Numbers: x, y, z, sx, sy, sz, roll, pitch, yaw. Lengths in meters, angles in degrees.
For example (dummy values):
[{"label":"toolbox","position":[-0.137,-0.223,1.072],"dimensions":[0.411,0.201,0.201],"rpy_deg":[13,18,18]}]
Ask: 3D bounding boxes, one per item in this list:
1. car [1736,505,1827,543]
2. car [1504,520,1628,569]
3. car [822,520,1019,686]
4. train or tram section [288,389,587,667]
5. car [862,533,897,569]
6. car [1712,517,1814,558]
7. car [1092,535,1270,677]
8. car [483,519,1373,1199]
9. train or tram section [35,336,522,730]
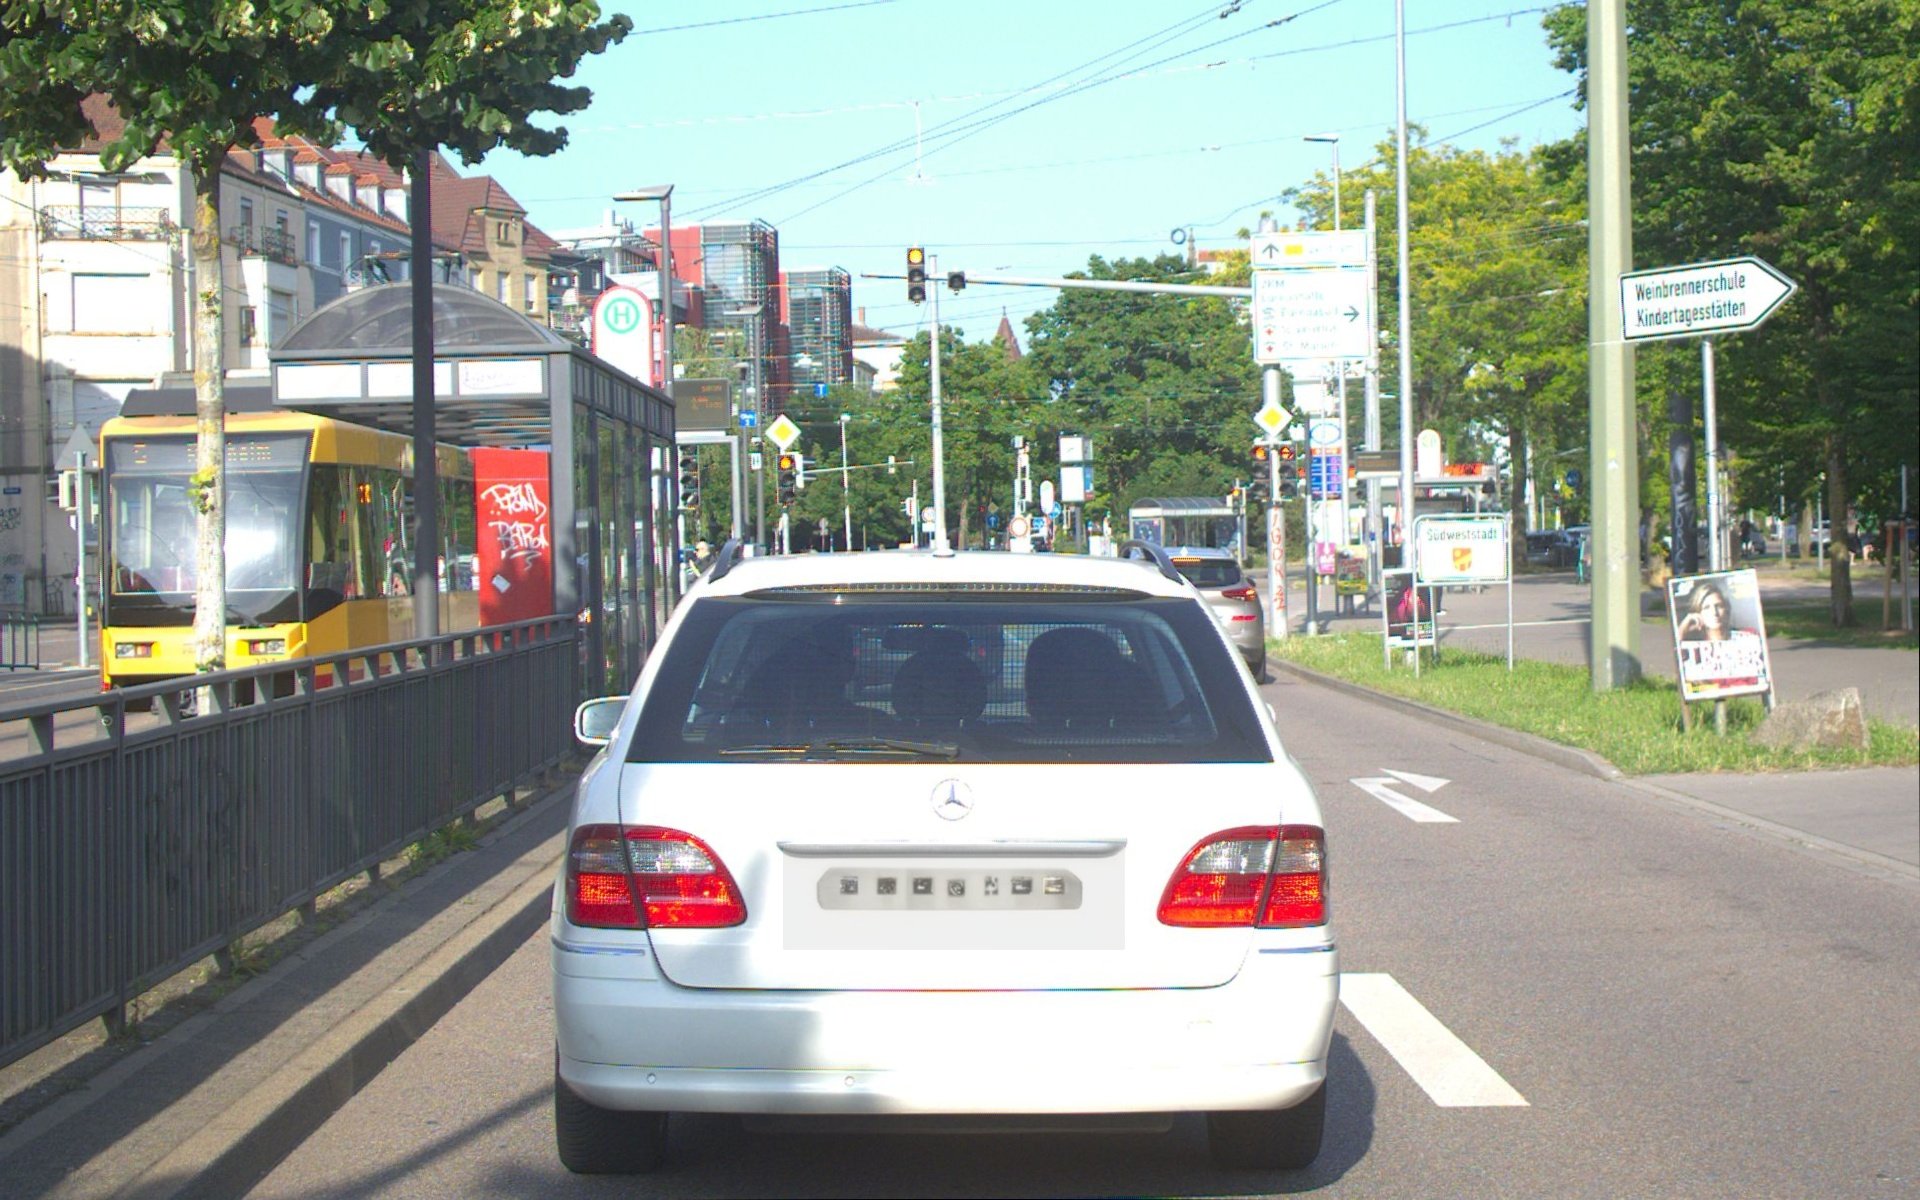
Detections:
[{"label":"car","position":[37.505,-3.470,156.887],"dimensions":[3.989,1.645,1.999],"rpy_deg":[-1,1,14]},{"label":"car","position":[21.823,-2.003,123.823],"dimensions":[3.992,1.645,1.997],"rpy_deg":[-1,1,25]},{"label":"car","position":[-0.370,-0.011,37.085],"dimensions":[1.787,1.684,4.000],"rpy_deg":[0,1,4]},{"label":"train or tram section","position":[-7.296,-1.058,49.918],"dimensions":[2.849,3.467,13.202],"rpy_deg":[-1,1,-2]},{"label":"car","position":[-4.684,-2.850,200.340],"dimensions":[1.993,2.007,4.000],"rpy_deg":[-2,1,-1]},{"label":"car","position":[35.342,-2.751,151.272],"dimensions":[3.986,1.645,2.000],"rpy_deg":[-2,1,-26]},{"label":"car","position":[2.680,0.030,41.598],"dimensions":[2.033,1.600,4.000],"rpy_deg":[0,1,4]},{"label":"car","position":[-0.112,0.570,8.894],"dimensions":[1.758,1.498,4.000],"rpy_deg":[-1,1,-1]},{"label":"train or tram section","position":[-6.848,-0.758,36.920],"dimensions":[2.849,3.467,13.201],"rpy_deg":[0,1,-1]}]
